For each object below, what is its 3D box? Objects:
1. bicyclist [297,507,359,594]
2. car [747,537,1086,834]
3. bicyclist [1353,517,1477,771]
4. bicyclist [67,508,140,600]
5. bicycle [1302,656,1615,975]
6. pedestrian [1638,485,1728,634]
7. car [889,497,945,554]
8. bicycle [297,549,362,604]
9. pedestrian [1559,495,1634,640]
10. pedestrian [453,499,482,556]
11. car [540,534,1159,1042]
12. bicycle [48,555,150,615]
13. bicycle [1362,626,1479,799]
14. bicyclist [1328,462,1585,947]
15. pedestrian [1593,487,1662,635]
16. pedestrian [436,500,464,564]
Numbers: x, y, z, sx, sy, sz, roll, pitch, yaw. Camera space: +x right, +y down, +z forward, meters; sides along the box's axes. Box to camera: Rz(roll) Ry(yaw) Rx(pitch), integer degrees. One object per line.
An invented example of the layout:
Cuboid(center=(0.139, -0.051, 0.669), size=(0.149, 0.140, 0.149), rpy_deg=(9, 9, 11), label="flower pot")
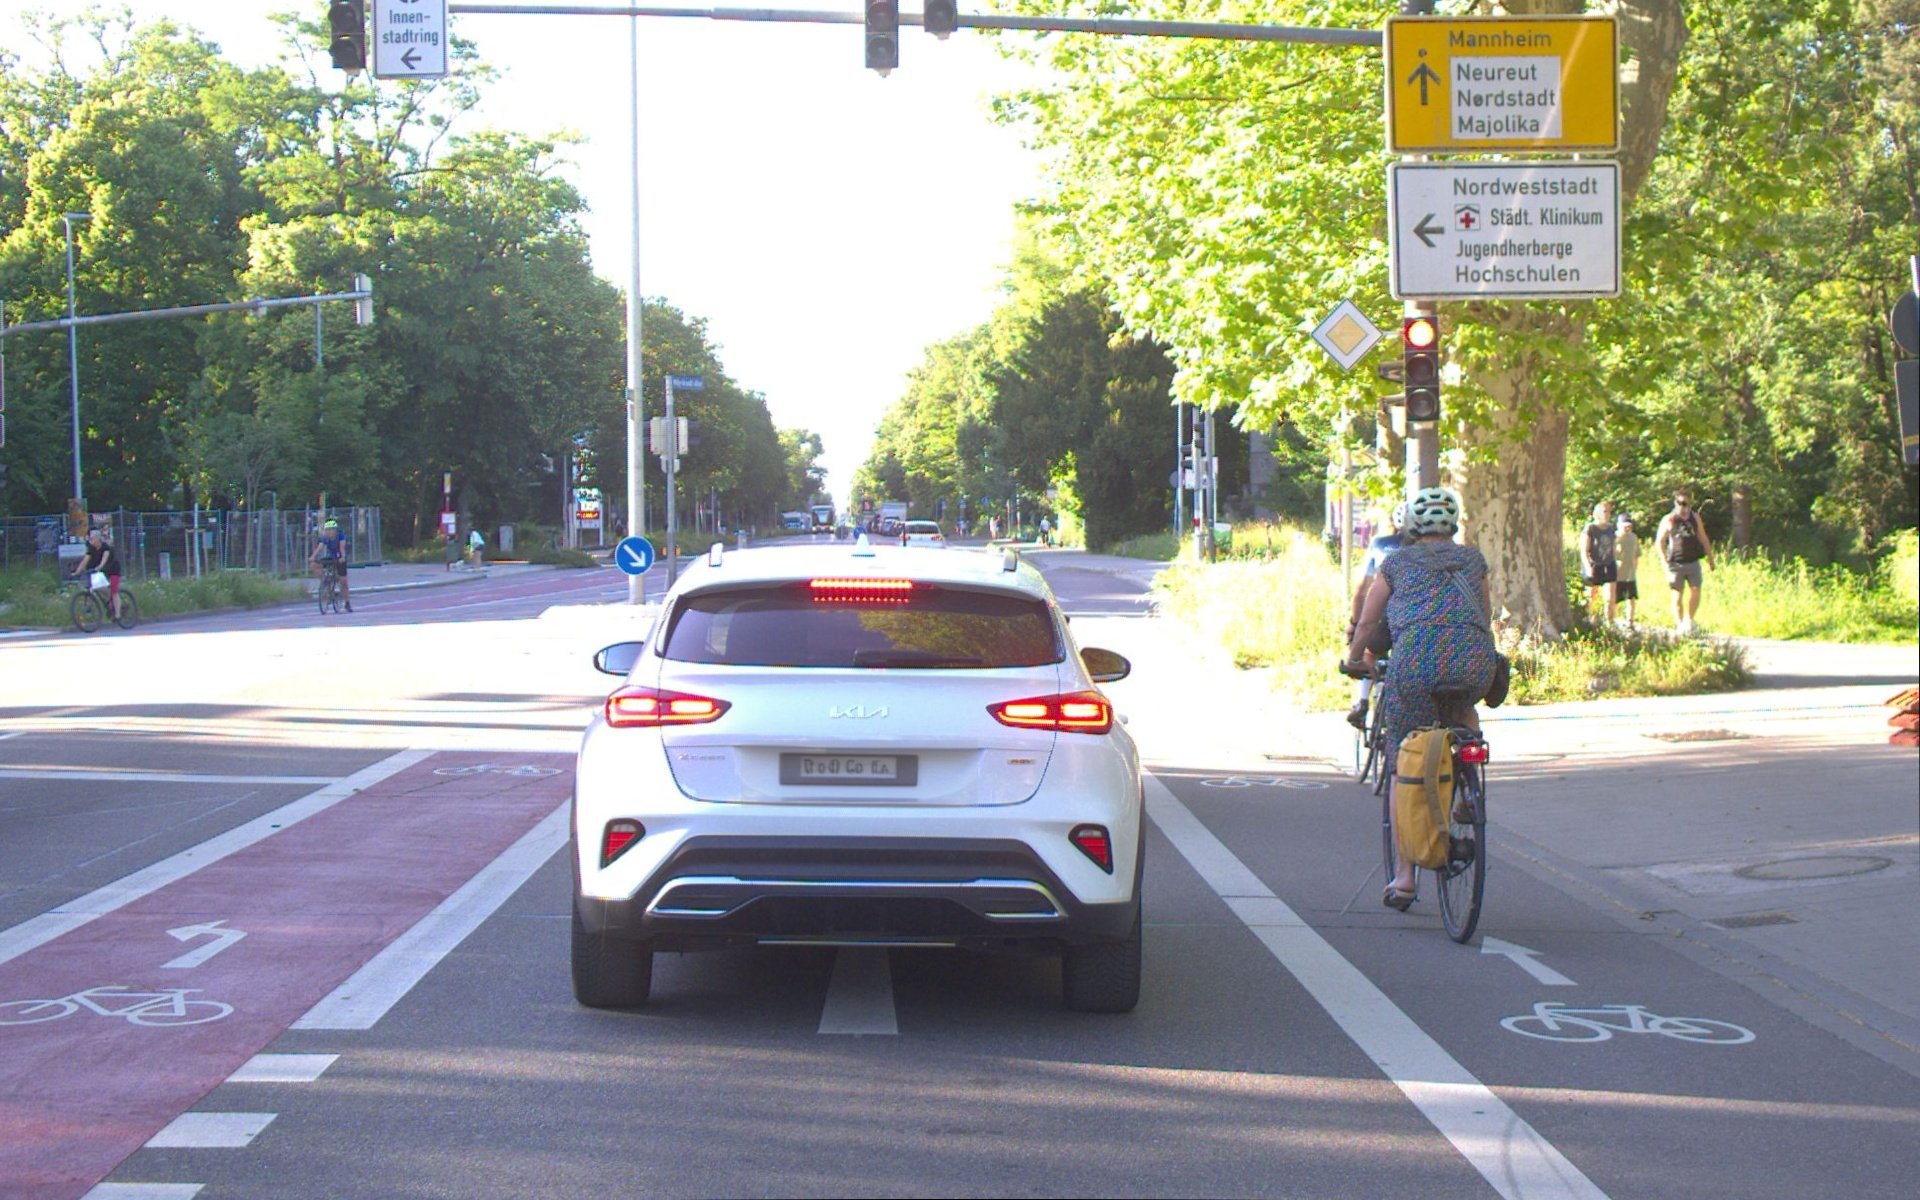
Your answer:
Cuboid(center=(-11.954, -0.943, 65.081), size=(0.875, 1.603, 1.188), rpy_deg=(-1, 1, 2), label="bicyclist")
Cuboid(center=(-0.283, 0.411, 19.546), size=(1.728, 1.478, 3.517), rpy_deg=(-1, 1, -2), label="car")
Cuboid(center=(2.744, 0.256, 20.773), size=(0.554, 1.473, 0.717), rpy_deg=(-3, 1, -2), label="bicyclist")
Cuboid(center=(-15.150, -0.820, 60.811), size=(0.875, 1.601, 0.977), rpy_deg=(-1, 1, 13), label="bicyclist")
Cuboid(center=(1.897, 0.788, 13.490), size=(0.758, 1.009, 2.570), rpy_deg=(1, 1, -2), label="bicycle")
Cuboid(center=(8.759, -0.495, 41.657), size=(0.817, 1.765, 0.832), rpy_deg=(-1, 1, -7), label="pedestrian")
Cuboid(center=(-1.556, -2.732, 126.041), size=(1.993, 2.007, 4.000), rpy_deg=(-1, 1, 0), label="car")
Cuboid(center=(-11.943, -0.455, 65.197), size=(0.663, 0.985, 2.504), rpy_deg=(-1, 1, 2), label="bicycle")
Cuboid(center=(7.583, -0.392, 40.962), size=(0.689, 1.693, 0.644), rpy_deg=(-1, 1, -6), label="pedestrian")
Cuboid(center=(-15.702, -2.311, 109.642), size=(0.785, 1.779, 0.751), rpy_deg=(0, 1, 0), label="pedestrian")
Cuboid(center=(-0.382, 0.518, 12.116), size=(1.821, 1.475, 3.937), rpy_deg=(0, 1, -2), label="car")
Cuboid(center=(-15.171, -0.278, 60.679), size=(0.580, 0.985, 2.713), rpy_deg=(-1, 1, 12), label="bicycle")
Cuboid(center=(2.769, 0.660, 20.760), size=(0.401, 0.953, 1.551), rpy_deg=(-3, 1, -2), label="bicycle")
Cuboid(center=(1.910, 0.378, 13.380), size=(0.753, 1.789, 1.165), rpy_deg=(1, 1, -2), label="bicyclist")
Cuboid(center=(8.038, -0.473, 41.420), size=(0.615, 1.765, 0.647), rpy_deg=(-1, 1, -7), label="pedestrian")
Cuboid(center=(-16.219, -2.162, 109.334), size=(0.641, 2.007, 0.753), rpy_deg=(1, 1, 10), label="pedestrian")
